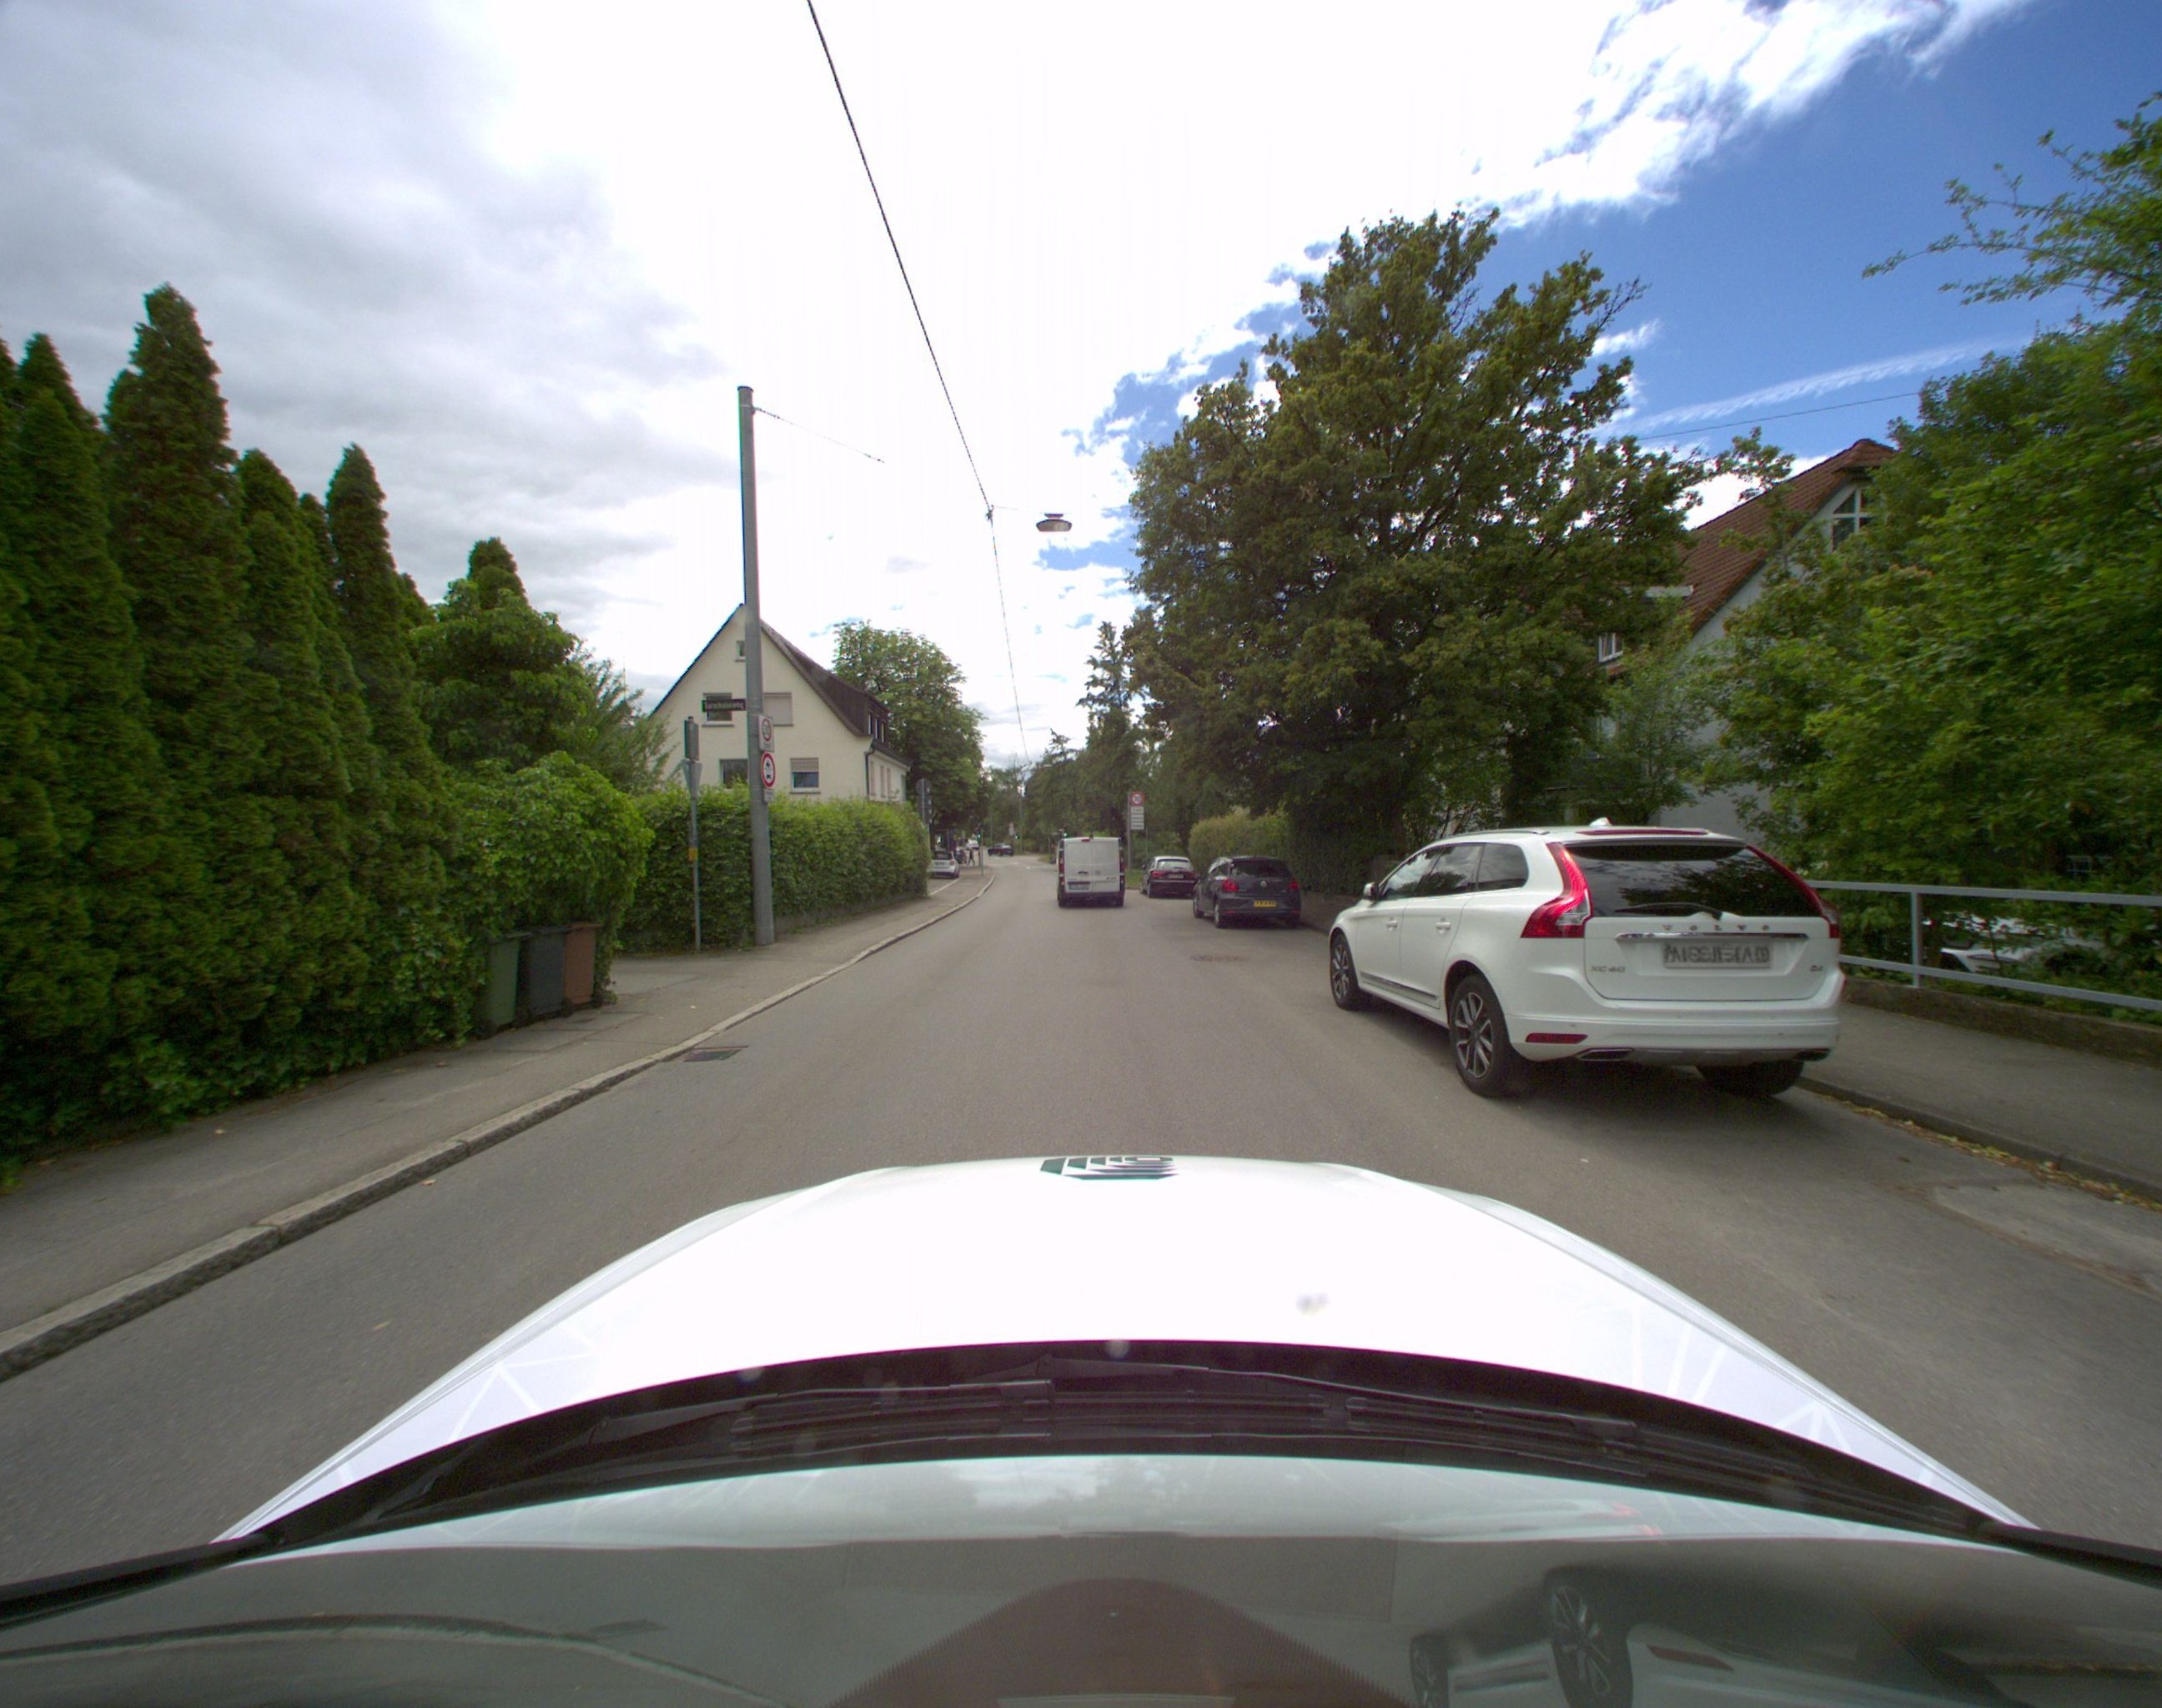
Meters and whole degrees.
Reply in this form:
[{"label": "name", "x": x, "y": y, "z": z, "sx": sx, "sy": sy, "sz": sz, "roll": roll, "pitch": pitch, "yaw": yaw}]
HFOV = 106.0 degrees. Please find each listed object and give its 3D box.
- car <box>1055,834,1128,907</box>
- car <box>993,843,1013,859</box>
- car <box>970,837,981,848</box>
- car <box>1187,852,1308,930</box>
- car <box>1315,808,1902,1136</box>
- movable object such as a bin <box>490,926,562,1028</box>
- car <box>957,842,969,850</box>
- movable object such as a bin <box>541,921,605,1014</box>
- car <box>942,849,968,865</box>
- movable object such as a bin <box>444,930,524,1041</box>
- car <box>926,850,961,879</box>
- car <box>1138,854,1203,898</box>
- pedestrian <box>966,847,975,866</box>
[{"label": "car", "x": 0.228, "y": 0.415, "z": 24.337, "sx": 1.925, "sy": 1.964, "sz": 4.398, "roll": 0, "pitch": 1, "yaw": -3}, {"label": "car", "x": -9.835, "y": -0.396, "z": 102.312, "sx": 1.899, "sy": 1.859, "sz": 4.383, "roll": -1, "pitch": 1, "yaw": -14}, {"label": "car", "x": -17.126, "y": -1.901, "z": 132.413, "sx": 1.824, "sy": 1.727, "sz": 3.990, "roll": 0, "pitch": 1, "yaw": -8}, {"label": "car", "x": 3.455, "y": 0.704, "z": 17.556, "sx": 1.705, "sy": 1.487, "sz": 3.787, "roll": 0, "pitch": 0, "yaw": -2}, {"label": "car", "x": 3.352, "y": 0.608, "z": 6.390, "sx": 1.859, "sy": 1.685, "sz": 4.351, "roll": 0, "pitch": 0, "yaw": 1}, {"label": "movable object such as a bin", "x": -5.267, "y": 1.154, "z": 7.740, "sx": 0.335, "sy": 0.893, "sz": 0.476, "roll": 0, "pitch": 0, "yaw": 3}, {"label": "car", "x": -23.898, "y": -1.592, "z": 165.309, "sx": 1.898, "sy": 1.611, "sz": 4.476, "roll": -1, "pitch": 1, "yaw": -16}, {"label": "movable object such as a bin", "x": -5.238, "y": 1.160, "z": 8.409, "sx": 0.335, "sy": 0.893, "sz": 0.476, "roll": 0, "pitch": 0, "yaw": 3}, {"label": "car", "x": -12.136, "y": 0.288, "z": 78.673, "sx": 1.774, "sy": 1.441, "sz": 4.525, "roll": 1, "pitch": 0, "yaw": 0}, {"label": "movable object such as a bin", "x": -5.280, "y": 1.148, "z": 7.214, "sx": 0.335, "sy": 0.893, "sz": 0.476, "roll": 0, "pitch": 0, "yaw": 3}, {"label": "car", "x": -7.737, "y": 0.559, "z": 45.968, "sx": 1.585, "sy": 1.538, "sz": 2.920, "roll": 1, "pitch": 1, "yaw": -3}, {"label": "car", "x": 3.081, "y": 0.737, "z": 28.724, "sx": 1.705, "sy": 1.412, "sz": 3.787, "roll": 1, "pitch": 0, "yaw": -2}, {"label": "pedestrian", "x": -9.726, "y": 0.220, "z": 71.719, "sx": 0.696, "sy": 1.616, "sz": 0.714, "roll": 0, "pitch": 1, "yaw": -4}]
